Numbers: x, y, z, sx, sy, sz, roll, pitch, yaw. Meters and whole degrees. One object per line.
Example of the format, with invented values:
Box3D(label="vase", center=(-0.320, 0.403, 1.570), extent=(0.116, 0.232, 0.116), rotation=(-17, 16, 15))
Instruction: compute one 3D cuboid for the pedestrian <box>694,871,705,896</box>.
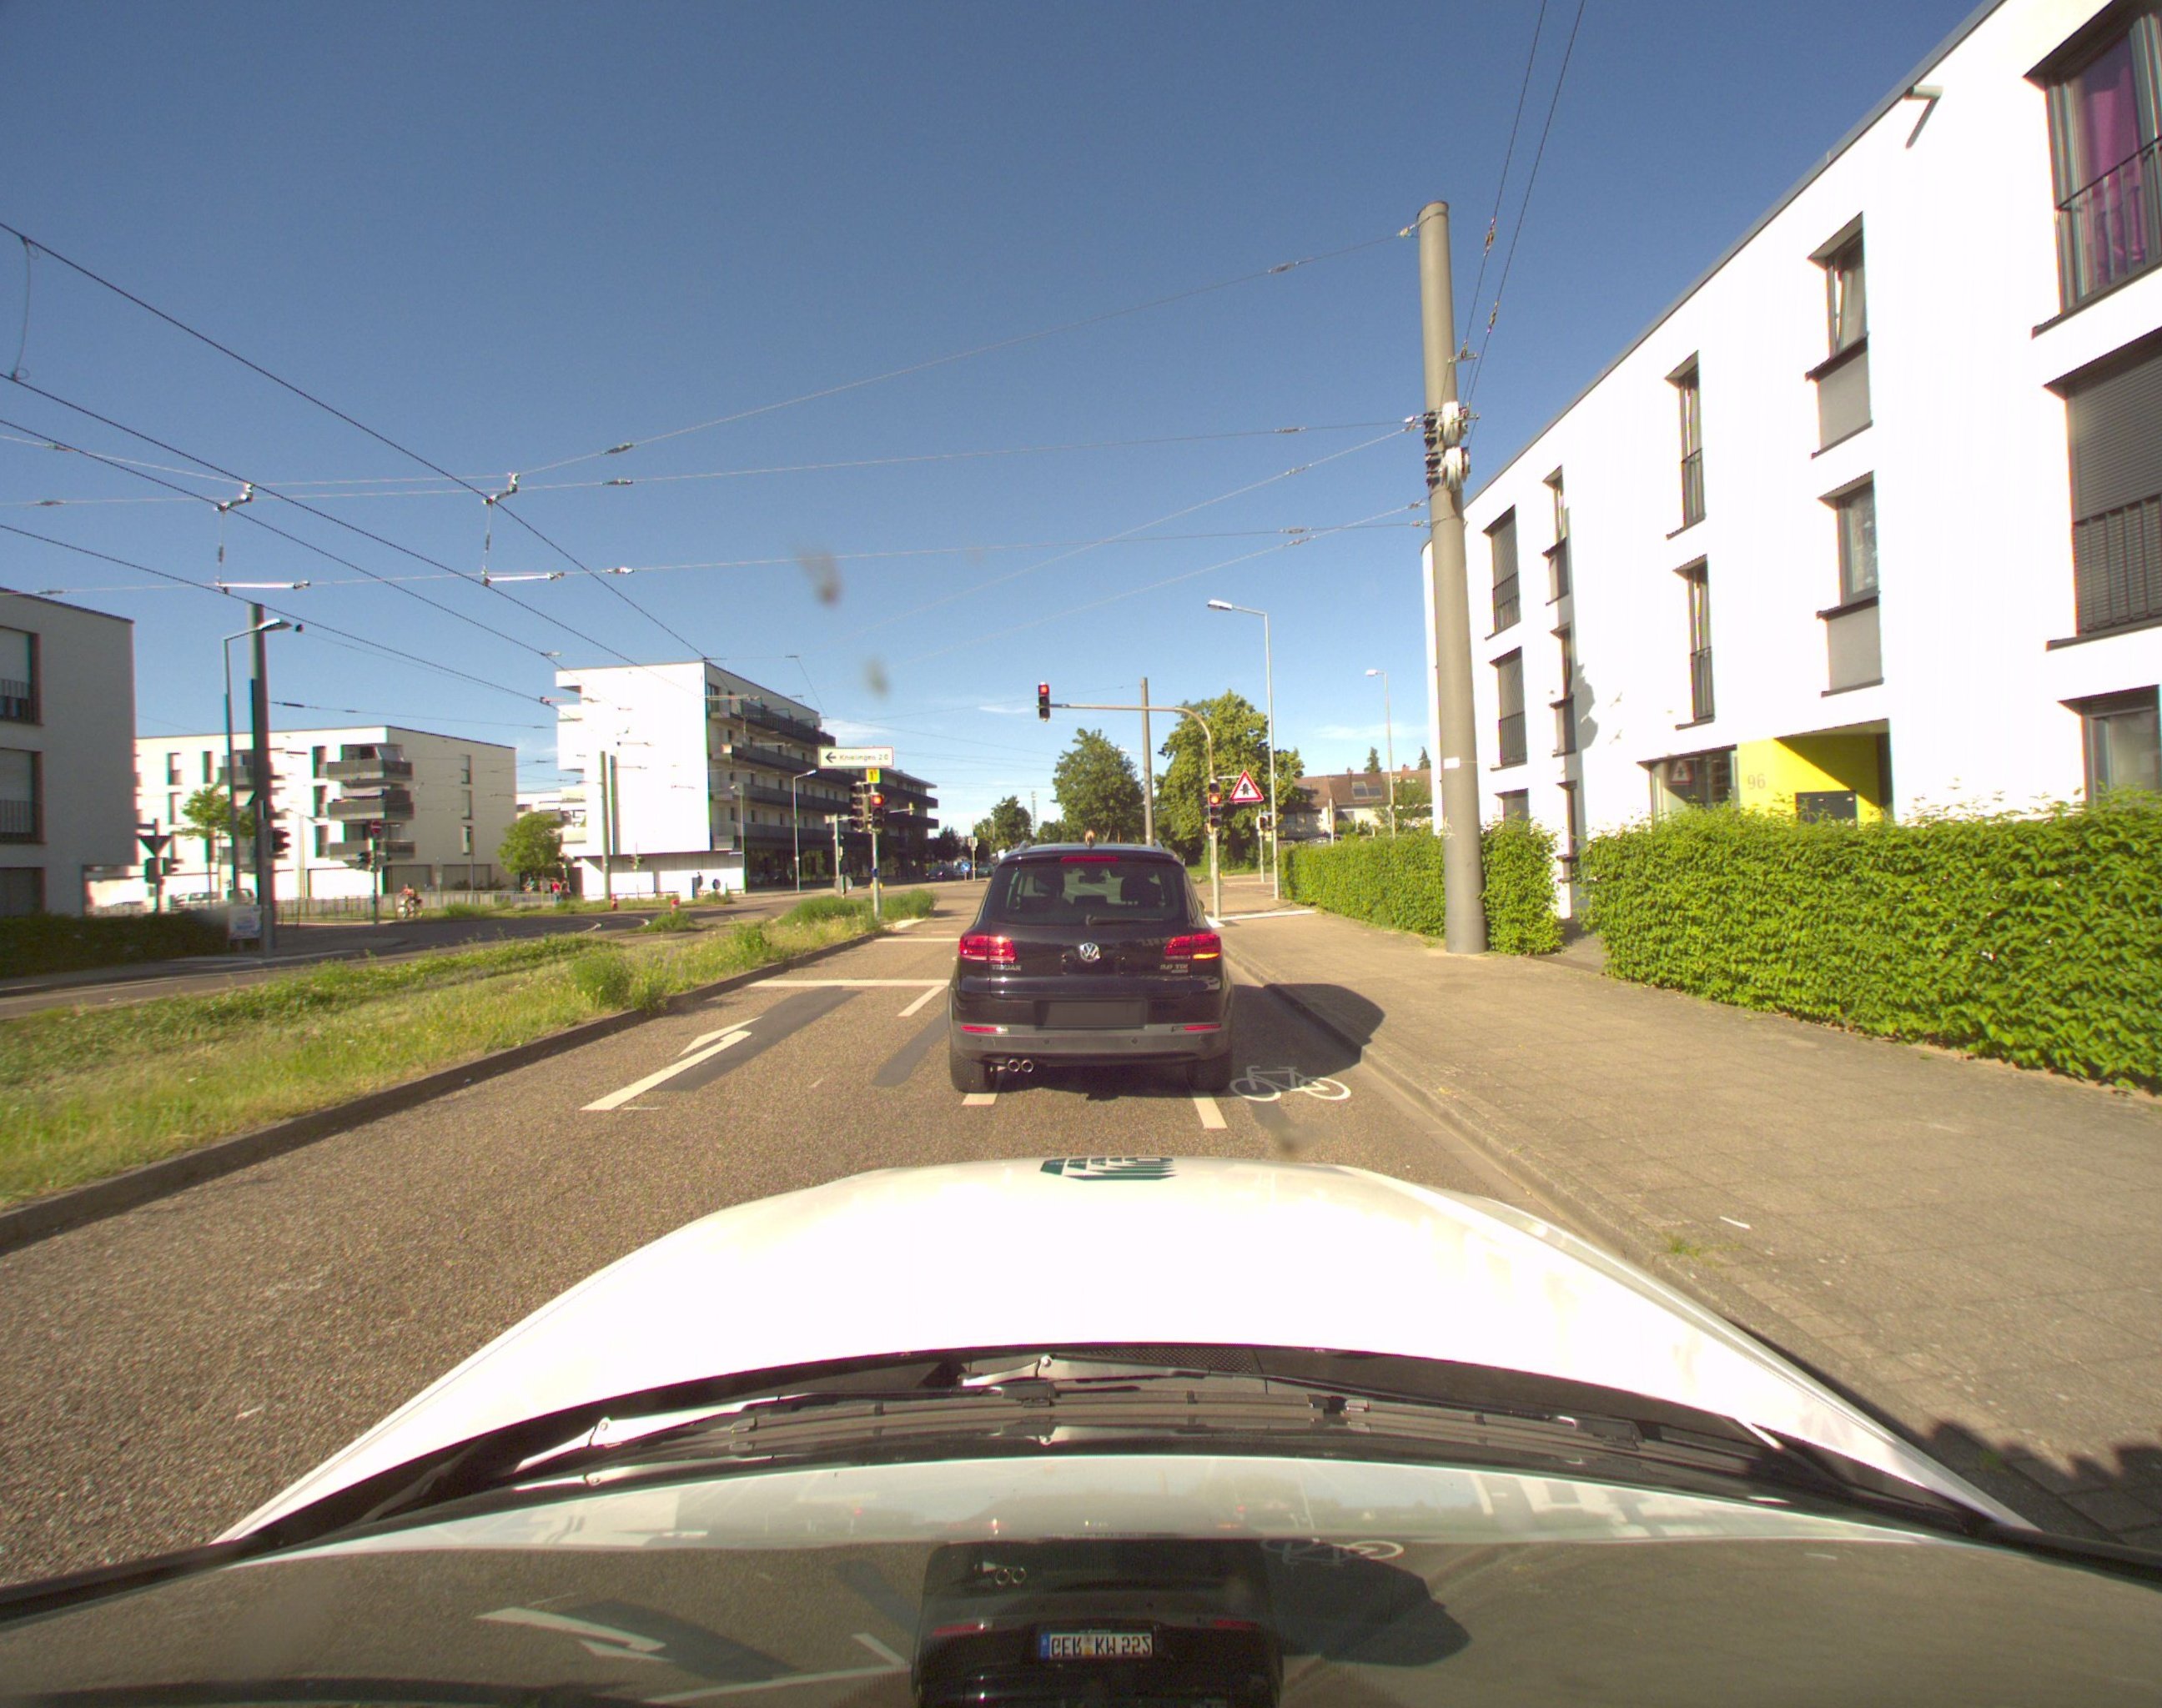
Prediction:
Box3D(label="pedestrian", center=(-26.931, 2.085, 57.498), extent=(0.542, 1.744, 0.517), rotation=(0, -1, -4))

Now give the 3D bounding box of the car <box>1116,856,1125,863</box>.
Box3D(label="car", center=(9.435, 1.251, 195.944), extent=(1.987, 1.684, 4.000), rotation=(0, -1, 0))

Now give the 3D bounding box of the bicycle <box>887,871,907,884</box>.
Box3D(label="bicycle", center=(-15.714, 1.992, 69.571), extent=(0.766, 0.989, 2.438), rotation=(-1, -1, 9))

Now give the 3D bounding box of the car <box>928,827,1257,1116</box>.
Box3D(label="car", center=(0.125, 0.686, 6.643), extent=(1.862, 1.637, 4.001), rotation=(0, -1, 2))

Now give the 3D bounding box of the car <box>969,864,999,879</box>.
Box3D(label="car", center=(-10.140, 1.818, 85.445), extent=(1.981, 1.574, 4.350), rotation=(0, -1, 9))

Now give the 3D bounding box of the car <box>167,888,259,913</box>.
Box3D(label="car", center=(-58.801, 3.133, 55.207), extent=(4.305, 1.574, 2.002), rotation=(0, -1, 4))

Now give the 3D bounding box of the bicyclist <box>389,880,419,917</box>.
Box3D(label="bicyclist", center=(-30.547, 1.996, 36.763), extent=(0.781, 1.614, 0.640), rotation=(0, -1, -4))

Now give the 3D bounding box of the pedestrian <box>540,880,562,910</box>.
Box3D(label="pedestrian", center=(-29.619, 2.279, 45.545), extent=(0.770, 1.605, 0.741), rotation=(0, -1, -5))

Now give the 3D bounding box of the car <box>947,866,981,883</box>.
Box3D(label="car", center=(-11.274, 1.991, 78.800), extent=(1.981, 1.574, 4.350), rotation=(0, -1, 9))

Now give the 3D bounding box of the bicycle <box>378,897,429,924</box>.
Box3D(label="bicycle", center=(-30.564, 2.529, 36.764), extent=(0.818, 1.124, 1.858), rotation=(0, -1, -4))

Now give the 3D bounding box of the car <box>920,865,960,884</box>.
Box3D(label="car", center=(-12.386, 1.772, 71.911), extent=(1.980, 1.574, 4.353), rotation=(-1, -1, 11))

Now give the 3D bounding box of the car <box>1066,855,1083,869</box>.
Box3D(label="car", center=(-0.846, 1.070, 109.399), extent=(1.855, 1.720, 3.690), rotation=(-2, 0, 4))

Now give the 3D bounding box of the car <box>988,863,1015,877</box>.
Box3D(label="car", center=(-8.878, 1.762, 91.452), extent=(1.981, 1.574, 4.350), rotation=(0, -1, 9))

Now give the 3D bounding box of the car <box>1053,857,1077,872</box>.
Box3D(label="car", center=(-1.725, 1.183, 90.719), extent=(1.852, 1.485, 4.121), rotation=(-3, 0, 9))

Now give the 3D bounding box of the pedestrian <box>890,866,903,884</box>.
Box3D(label="pedestrian", center=(-15.738, 1.792, 69.484), extent=(0.707, 1.474, 0.956), rotation=(-1, -1, 9))

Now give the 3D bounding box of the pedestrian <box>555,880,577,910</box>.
Box3D(label="pedestrian", center=(-28.745, 2.272, 45.429), extent=(0.770, 1.605, 0.741), rotation=(0, -1, -5))

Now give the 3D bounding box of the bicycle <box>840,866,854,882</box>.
Box3D(label="bicycle", center=(-20.813, 1.762, 72.490), extent=(0.628, 1.332, 1.913), rotation=(0, -1, 1))

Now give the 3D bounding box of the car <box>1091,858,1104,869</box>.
Box3D(label="car", center=(2.931, 1.642, 143.187), extent=(1.984, 1.836, 4.005), rotation=(0, -1, 5))

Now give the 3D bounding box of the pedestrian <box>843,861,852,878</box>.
Box3D(label="pedestrian", center=(-20.808, 1.406, 72.495), extent=(0.640, 1.509, 0.596), rotation=(0, -1, 1))
